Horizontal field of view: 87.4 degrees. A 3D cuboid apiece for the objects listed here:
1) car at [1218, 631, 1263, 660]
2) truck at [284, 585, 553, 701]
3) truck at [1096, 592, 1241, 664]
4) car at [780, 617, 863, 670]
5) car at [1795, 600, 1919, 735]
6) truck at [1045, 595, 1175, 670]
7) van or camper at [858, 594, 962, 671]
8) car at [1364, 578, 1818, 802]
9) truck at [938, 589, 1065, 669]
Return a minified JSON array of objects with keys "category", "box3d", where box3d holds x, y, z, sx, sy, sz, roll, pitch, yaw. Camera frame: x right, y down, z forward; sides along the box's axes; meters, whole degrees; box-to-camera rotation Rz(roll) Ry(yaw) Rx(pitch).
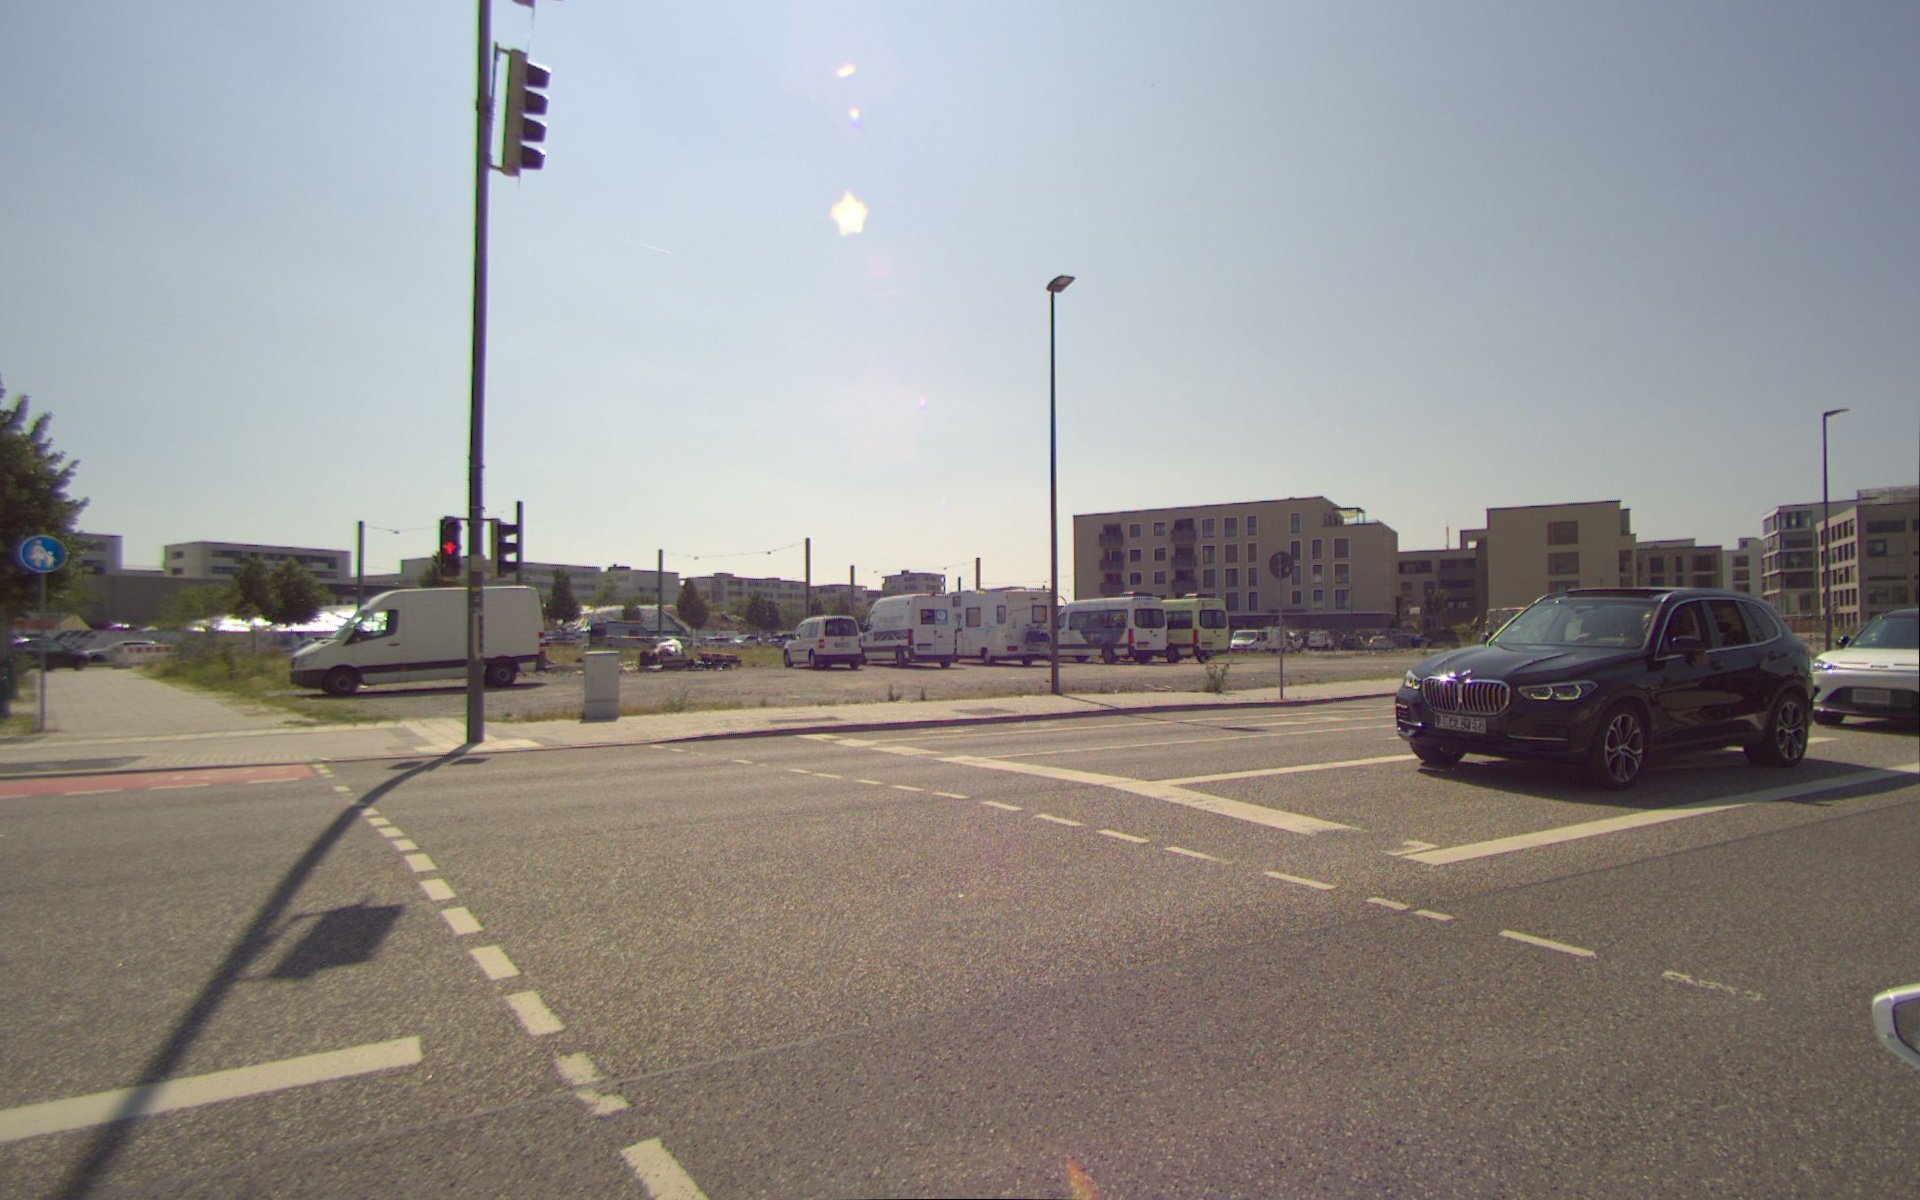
[{"category":"car","box3d":[20.483,3.318,73.310,1.965,2.040,4.644,-2,-3,31]},{"category":"truck","box3d":[-13.980,1.101,26.190,5.894,2.690,2.150,1,-3,-39]},{"category":"truck","box3d":[8.912,1.188,43.692,2.571,2.863,6.608,1,-1,-28]},{"category":"car","box3d":[-5.022,1.527,36.078,1.637,1.781,3.848,0,-1,-30]},{"category":"car","box3d":[13.664,0.849,14.023,4.049,1.704,1.771,0,0,-29]},{"category":"truck","box3d":[6.136,1.300,41.980,2.536,2.862,5.817,2,-1,-25]},{"category":"van or camper","box3d":[-1.981,1.199,37.994,2.230,2.697,4.883,0,-1,-26]},{"category":"car","box3d":[6.420,0.731,10.113,4.599,1.812,1.931,0,0,-29]},{"category":"truck","box3d":[1.523,1.119,40.382,2.536,2.939,6.126,2,-1,-25]}]
